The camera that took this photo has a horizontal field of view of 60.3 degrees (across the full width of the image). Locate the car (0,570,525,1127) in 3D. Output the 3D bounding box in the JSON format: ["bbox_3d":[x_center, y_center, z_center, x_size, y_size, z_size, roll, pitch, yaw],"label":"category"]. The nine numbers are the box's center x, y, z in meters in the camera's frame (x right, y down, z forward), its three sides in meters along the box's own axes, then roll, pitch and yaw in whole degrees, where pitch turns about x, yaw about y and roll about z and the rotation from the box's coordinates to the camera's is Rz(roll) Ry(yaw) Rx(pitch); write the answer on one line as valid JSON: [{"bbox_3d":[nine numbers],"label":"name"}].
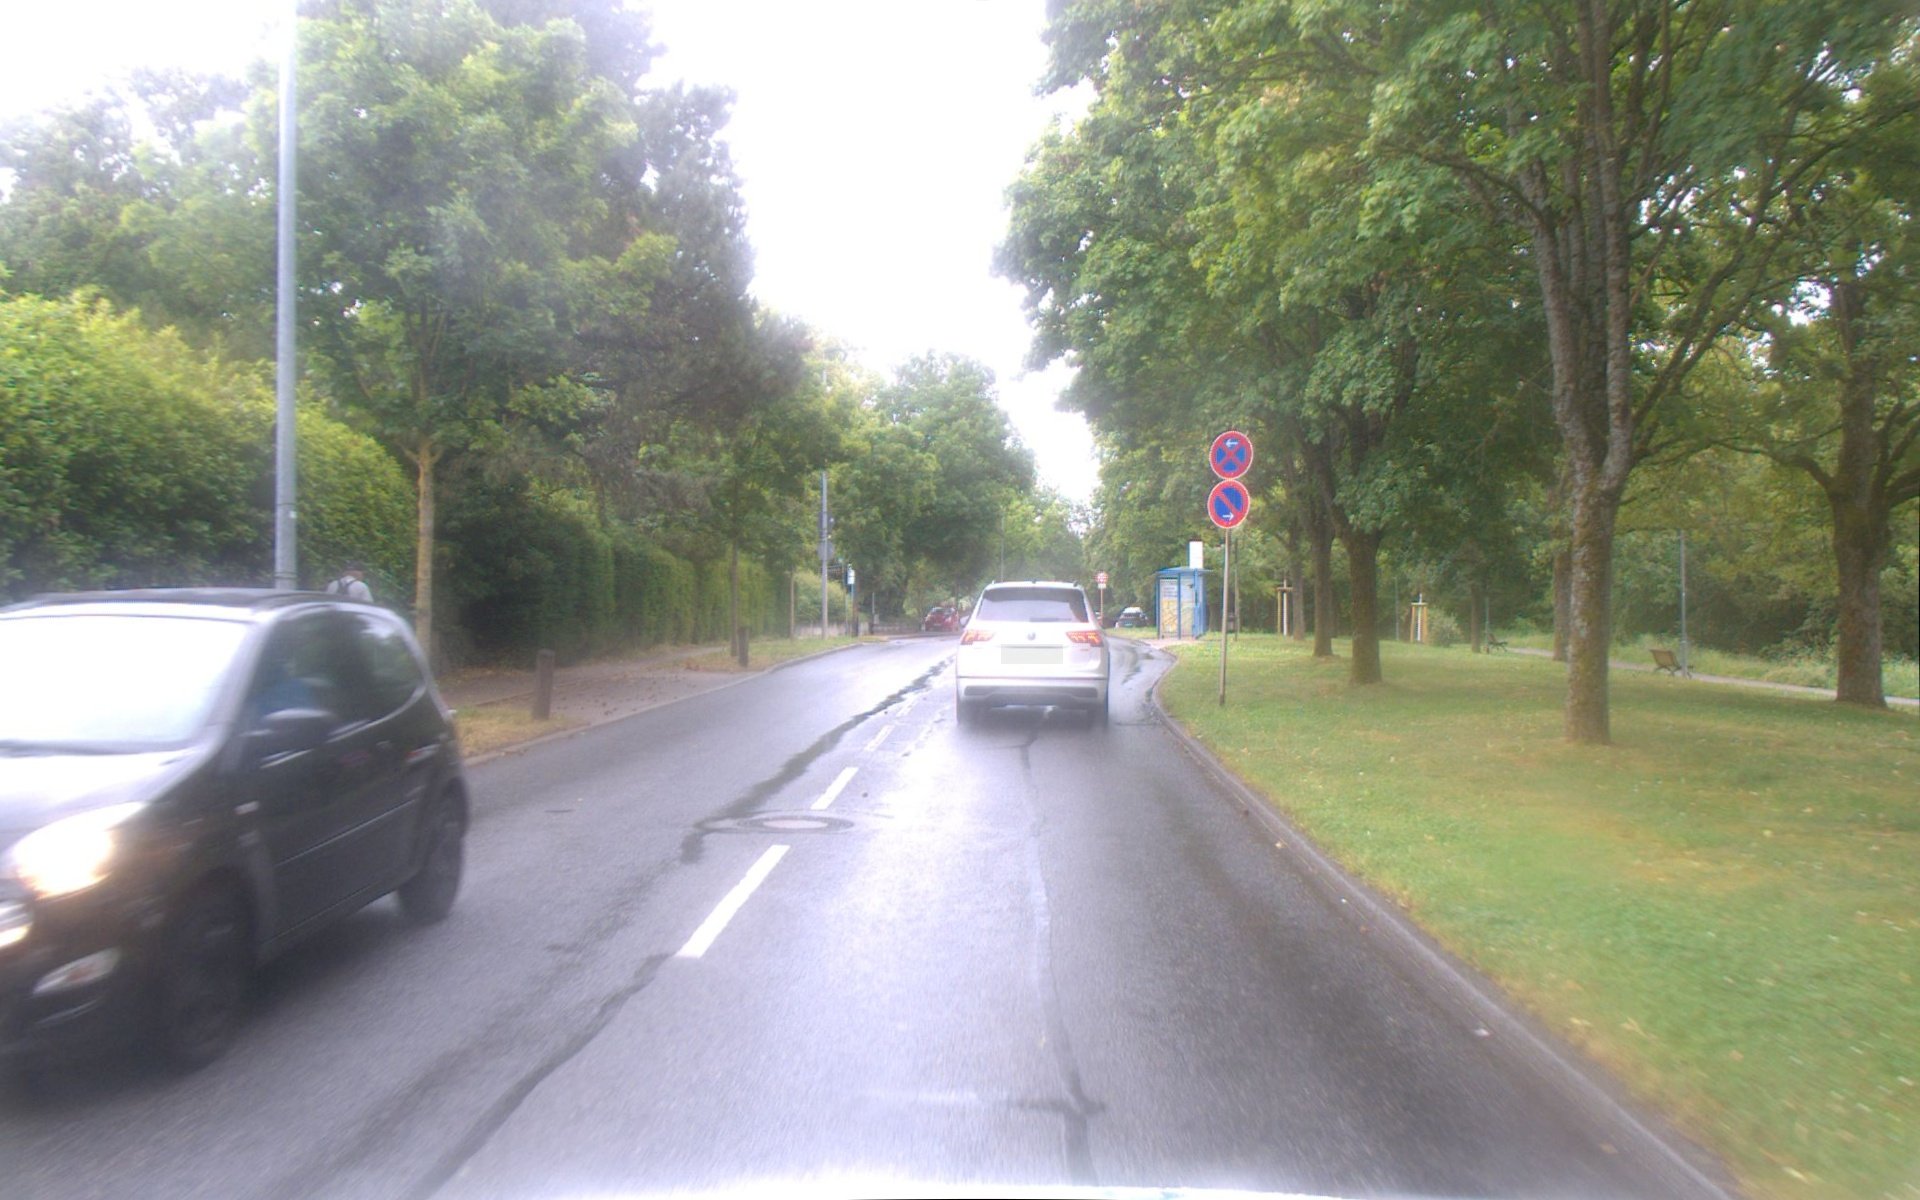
[{"bbox_3d":[-3.010,0.658,6.417,1.550,1.503,3.896,0,0,1],"label":"car"}]

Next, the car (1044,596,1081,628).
[{"bbox_3d":[6.120,0.740,99.402,1.952,1.790,4.000,2,-2,1],"label":"car"}]

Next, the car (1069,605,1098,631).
[{"bbox_3d":[9.428,1.385,126.346,1.952,1.836,4.000,2,-2,1],"label":"car"}]

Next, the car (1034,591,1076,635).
[{"bbox_3d":[4.686,0.664,82.174,1.862,2.049,3.944,2,-2,1],"label":"car"}]

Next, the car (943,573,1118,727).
[{"bbox_3d":[0.881,0.558,20.499,1.933,1.682,4.178,1,0,3],"label":"car"}]

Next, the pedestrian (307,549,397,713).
[{"bbox_3d":[-6.465,0.324,17.612,0.763,1.691,0.840,1,0,-12],"label":"pedestrian"}]

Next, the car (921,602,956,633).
[{"bbox_3d":[-1.319,1.107,102.905,1.952,1.793,4.000,2,-2,1],"label":"car"}]
